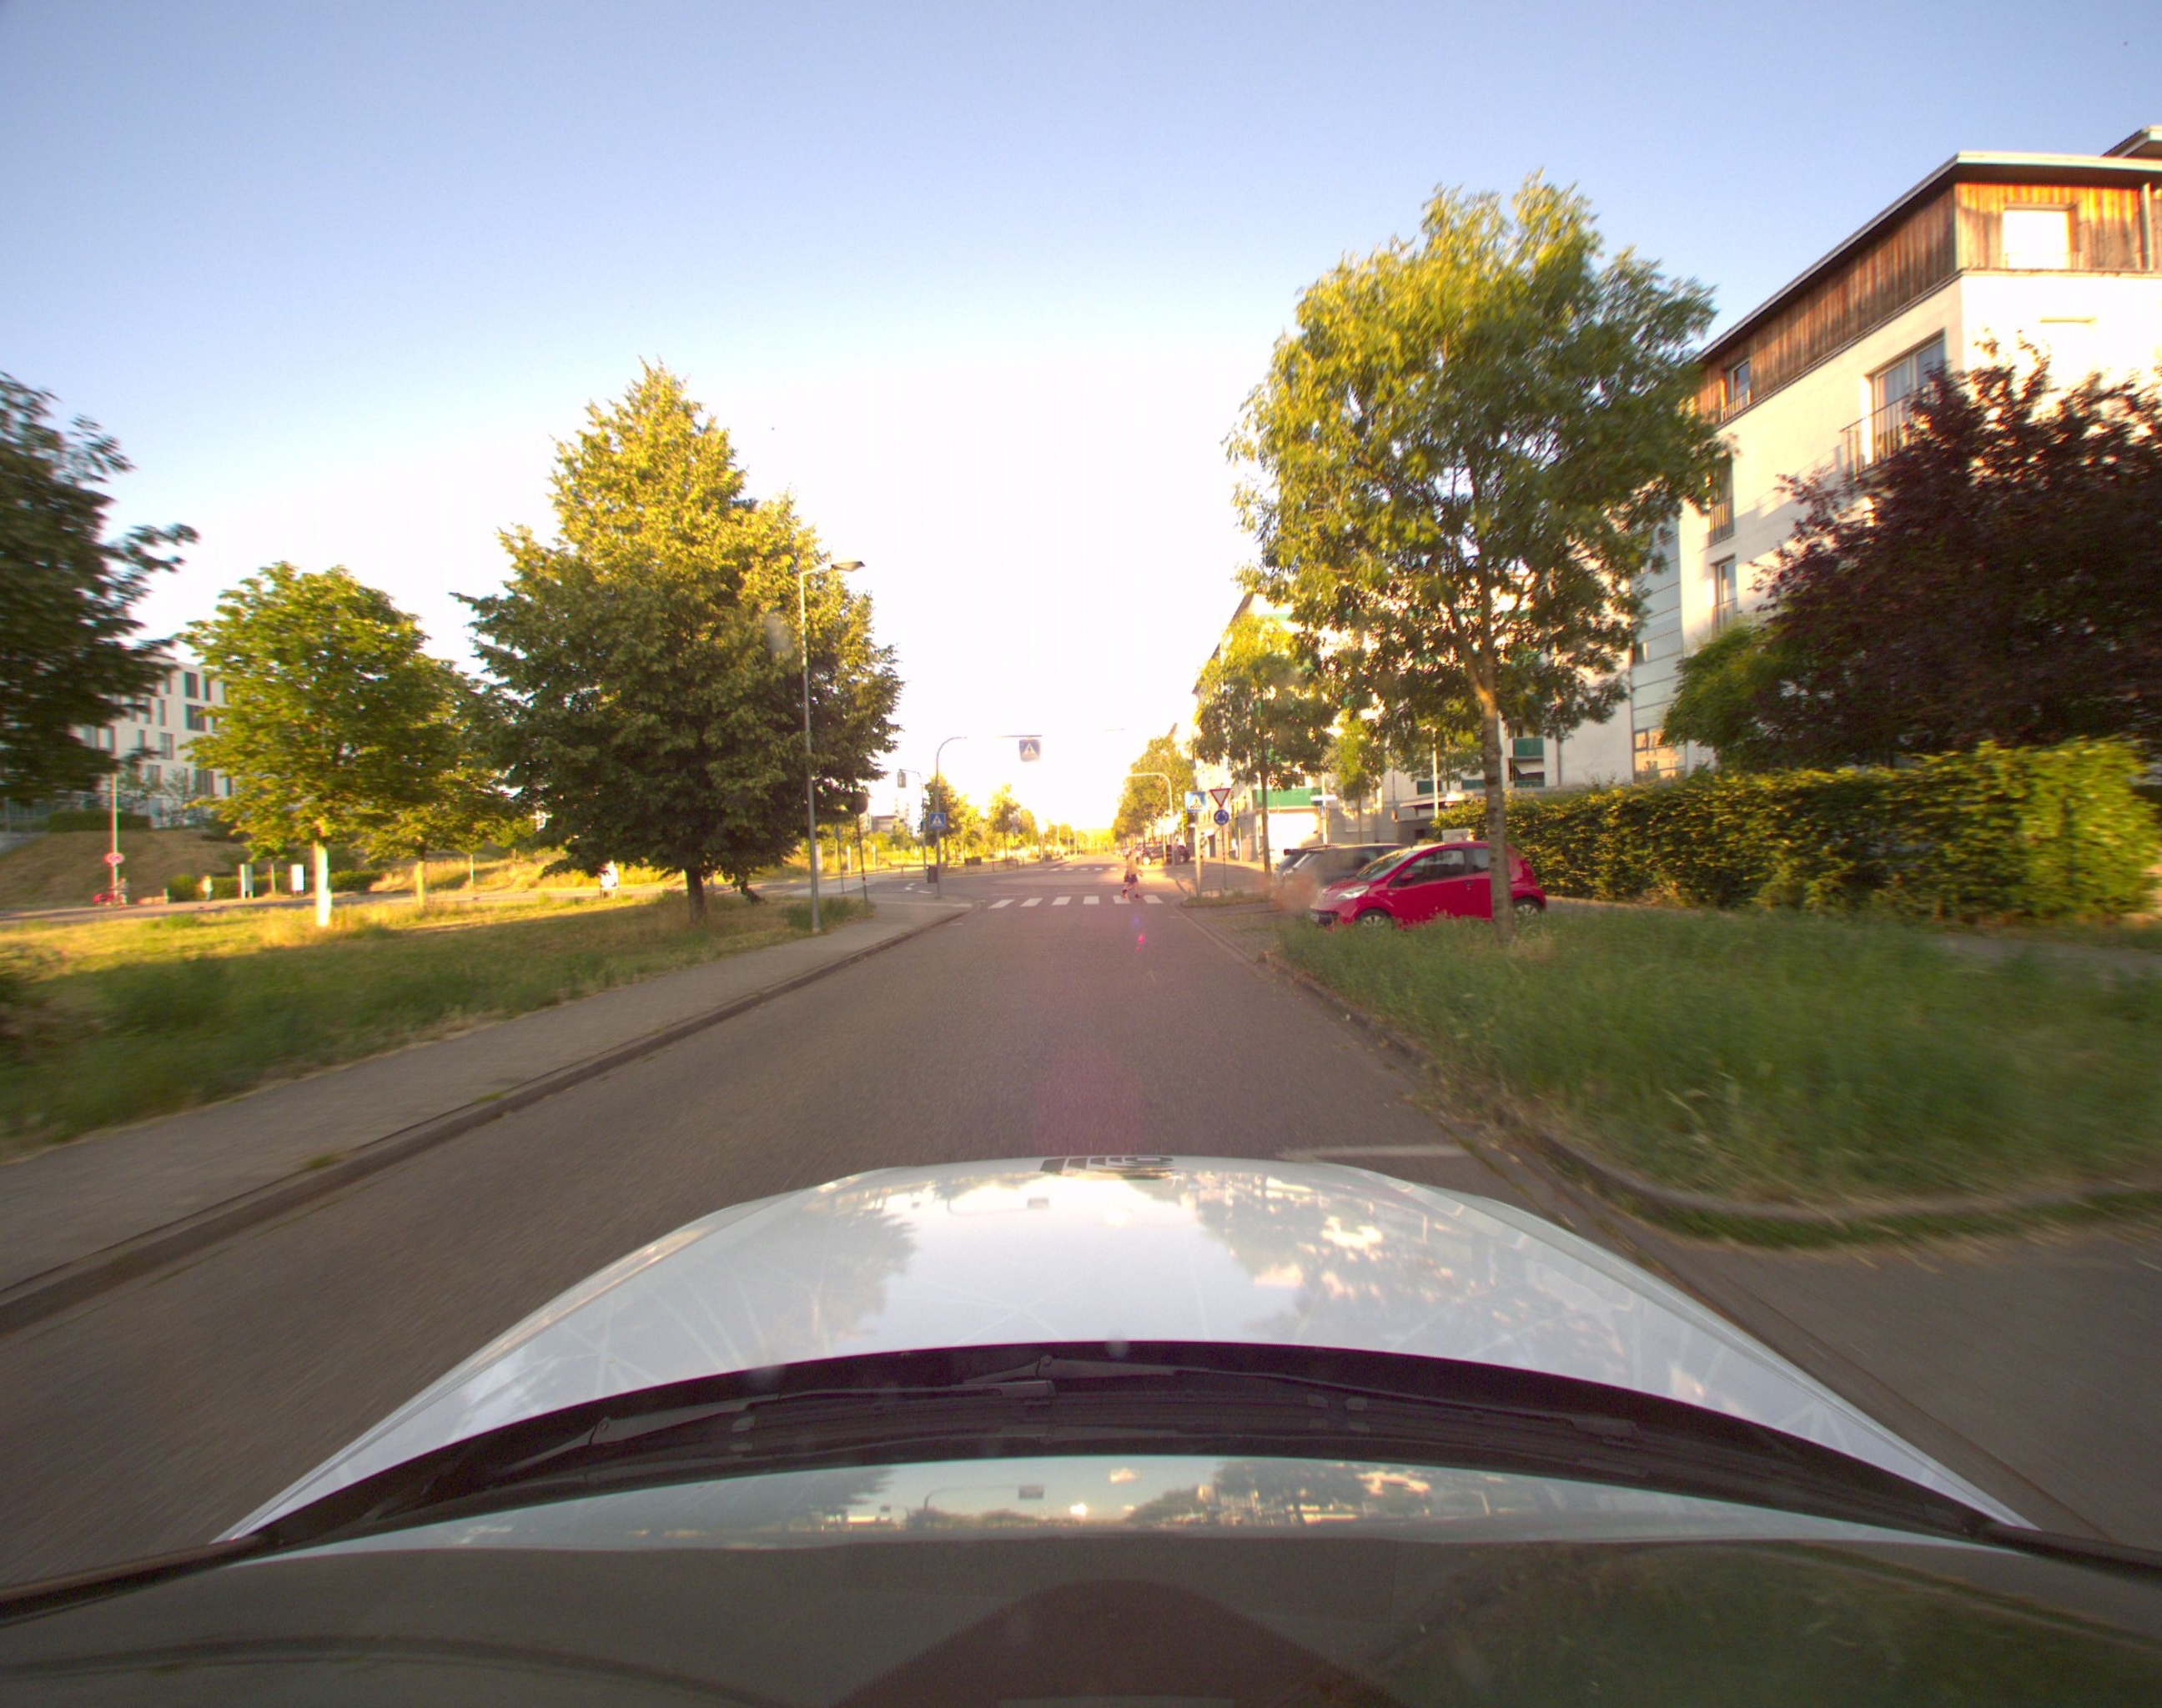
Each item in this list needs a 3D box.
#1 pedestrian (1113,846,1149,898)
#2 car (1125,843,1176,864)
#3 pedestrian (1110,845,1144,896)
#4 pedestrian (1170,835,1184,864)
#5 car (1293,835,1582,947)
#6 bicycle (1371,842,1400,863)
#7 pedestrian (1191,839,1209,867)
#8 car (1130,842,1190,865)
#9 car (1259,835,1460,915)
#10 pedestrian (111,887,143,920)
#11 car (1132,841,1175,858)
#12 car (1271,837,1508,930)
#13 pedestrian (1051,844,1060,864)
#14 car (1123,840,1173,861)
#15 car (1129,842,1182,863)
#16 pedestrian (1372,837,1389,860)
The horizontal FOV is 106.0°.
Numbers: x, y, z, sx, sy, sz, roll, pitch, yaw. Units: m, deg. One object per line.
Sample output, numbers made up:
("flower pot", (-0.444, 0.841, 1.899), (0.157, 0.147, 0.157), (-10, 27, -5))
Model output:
("pedestrian", (1.689, 0.595, 27.375), (1.018, 1.693, 0.757), (-2, 0, -10))
("car", (6.038, -0.039, 71.086), (4.246, 1.596, 2.001), (-2, 0, 2))
("pedestrian", (1.570, 0.555, 28.076), (0.983, 1.693, 0.697), (-2, 0, -10))
("pedestrian", (6.664, -0.322, 56.563), (0.842, 2.013, 0.945), (-2, 0, 7))
("car", (5.448, 0.533, 12.776), (3.791, 1.508, 1.678), (-2, 0, -1))
("bicycle", (17.712, -0.106, 47.439), (0.694, 1.151, 2.460), (-2, 0, -1))
("pedestrian", (7.696, -0.093, 52.751), (1.002, 1.788, 0.761), (-1, 0, -5))
("car", (6.086, -0.057, 63.196), (4.467, 1.596, 2.001), (-2, 0, 2))
("car", (5.970, 0.438, 17.794), (3.789, 1.508, 1.679), (-3, 0, 1))
("pedestrian", (-53.854, 2.764, 45.964), (0.783, 1.786, 0.815), (-2, 0, 4))
("car", (7.418, -0.462, 83.298), (4.249, 1.596, 2.000), (-2, 0, 0))
("car", (5.694, 0.521, 15.330), (3.791, 1.508, 1.678), (-2, 0, -1))
("pedestrian", (-2.666, -0.014, 85.038), (0.866, 2.013, 0.787), (-2, 0, -9))
("car", (7.108, -0.399, 86.359), (4.992, 2.045, 2.248), (-2, 0, -3))
("car", (6.207, -0.100, 68.348), (4.338, 1.596, 2.001), (-2, 0, 2))
("pedestrian", (17.698, -0.331, 48.192), (0.655, 1.355, 0.802), (-2, 0, -2))
